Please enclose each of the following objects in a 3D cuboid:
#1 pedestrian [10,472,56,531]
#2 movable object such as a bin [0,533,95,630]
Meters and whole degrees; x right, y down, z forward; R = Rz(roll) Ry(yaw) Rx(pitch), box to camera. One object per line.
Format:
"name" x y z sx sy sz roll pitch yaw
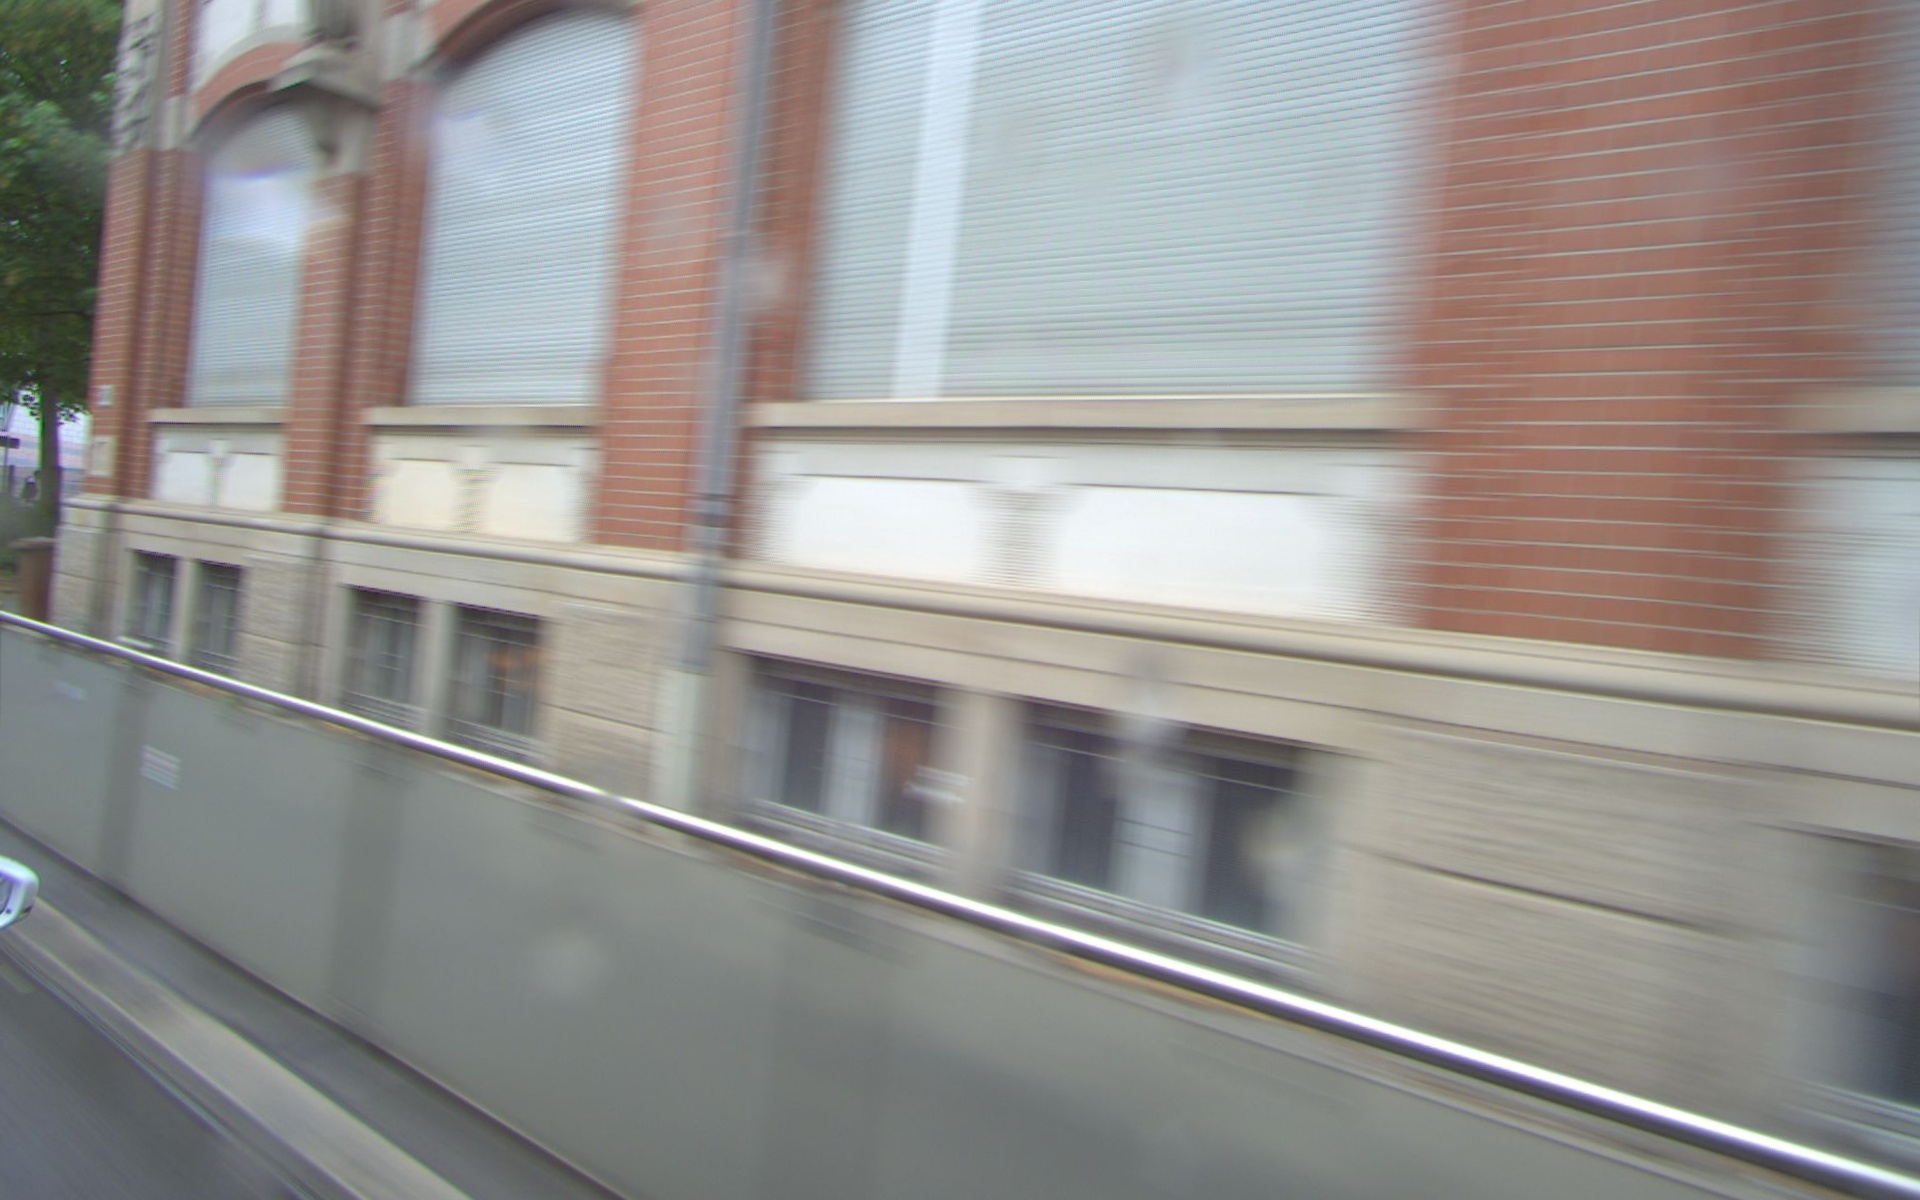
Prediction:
"pedestrian" -31.353 -3.331 34.030 0.944 1.850 0.830 7 0 35
"movable object such as a bin" -9.674 -0.186 10.653 0.563 0.945 0.591 7 2 31
